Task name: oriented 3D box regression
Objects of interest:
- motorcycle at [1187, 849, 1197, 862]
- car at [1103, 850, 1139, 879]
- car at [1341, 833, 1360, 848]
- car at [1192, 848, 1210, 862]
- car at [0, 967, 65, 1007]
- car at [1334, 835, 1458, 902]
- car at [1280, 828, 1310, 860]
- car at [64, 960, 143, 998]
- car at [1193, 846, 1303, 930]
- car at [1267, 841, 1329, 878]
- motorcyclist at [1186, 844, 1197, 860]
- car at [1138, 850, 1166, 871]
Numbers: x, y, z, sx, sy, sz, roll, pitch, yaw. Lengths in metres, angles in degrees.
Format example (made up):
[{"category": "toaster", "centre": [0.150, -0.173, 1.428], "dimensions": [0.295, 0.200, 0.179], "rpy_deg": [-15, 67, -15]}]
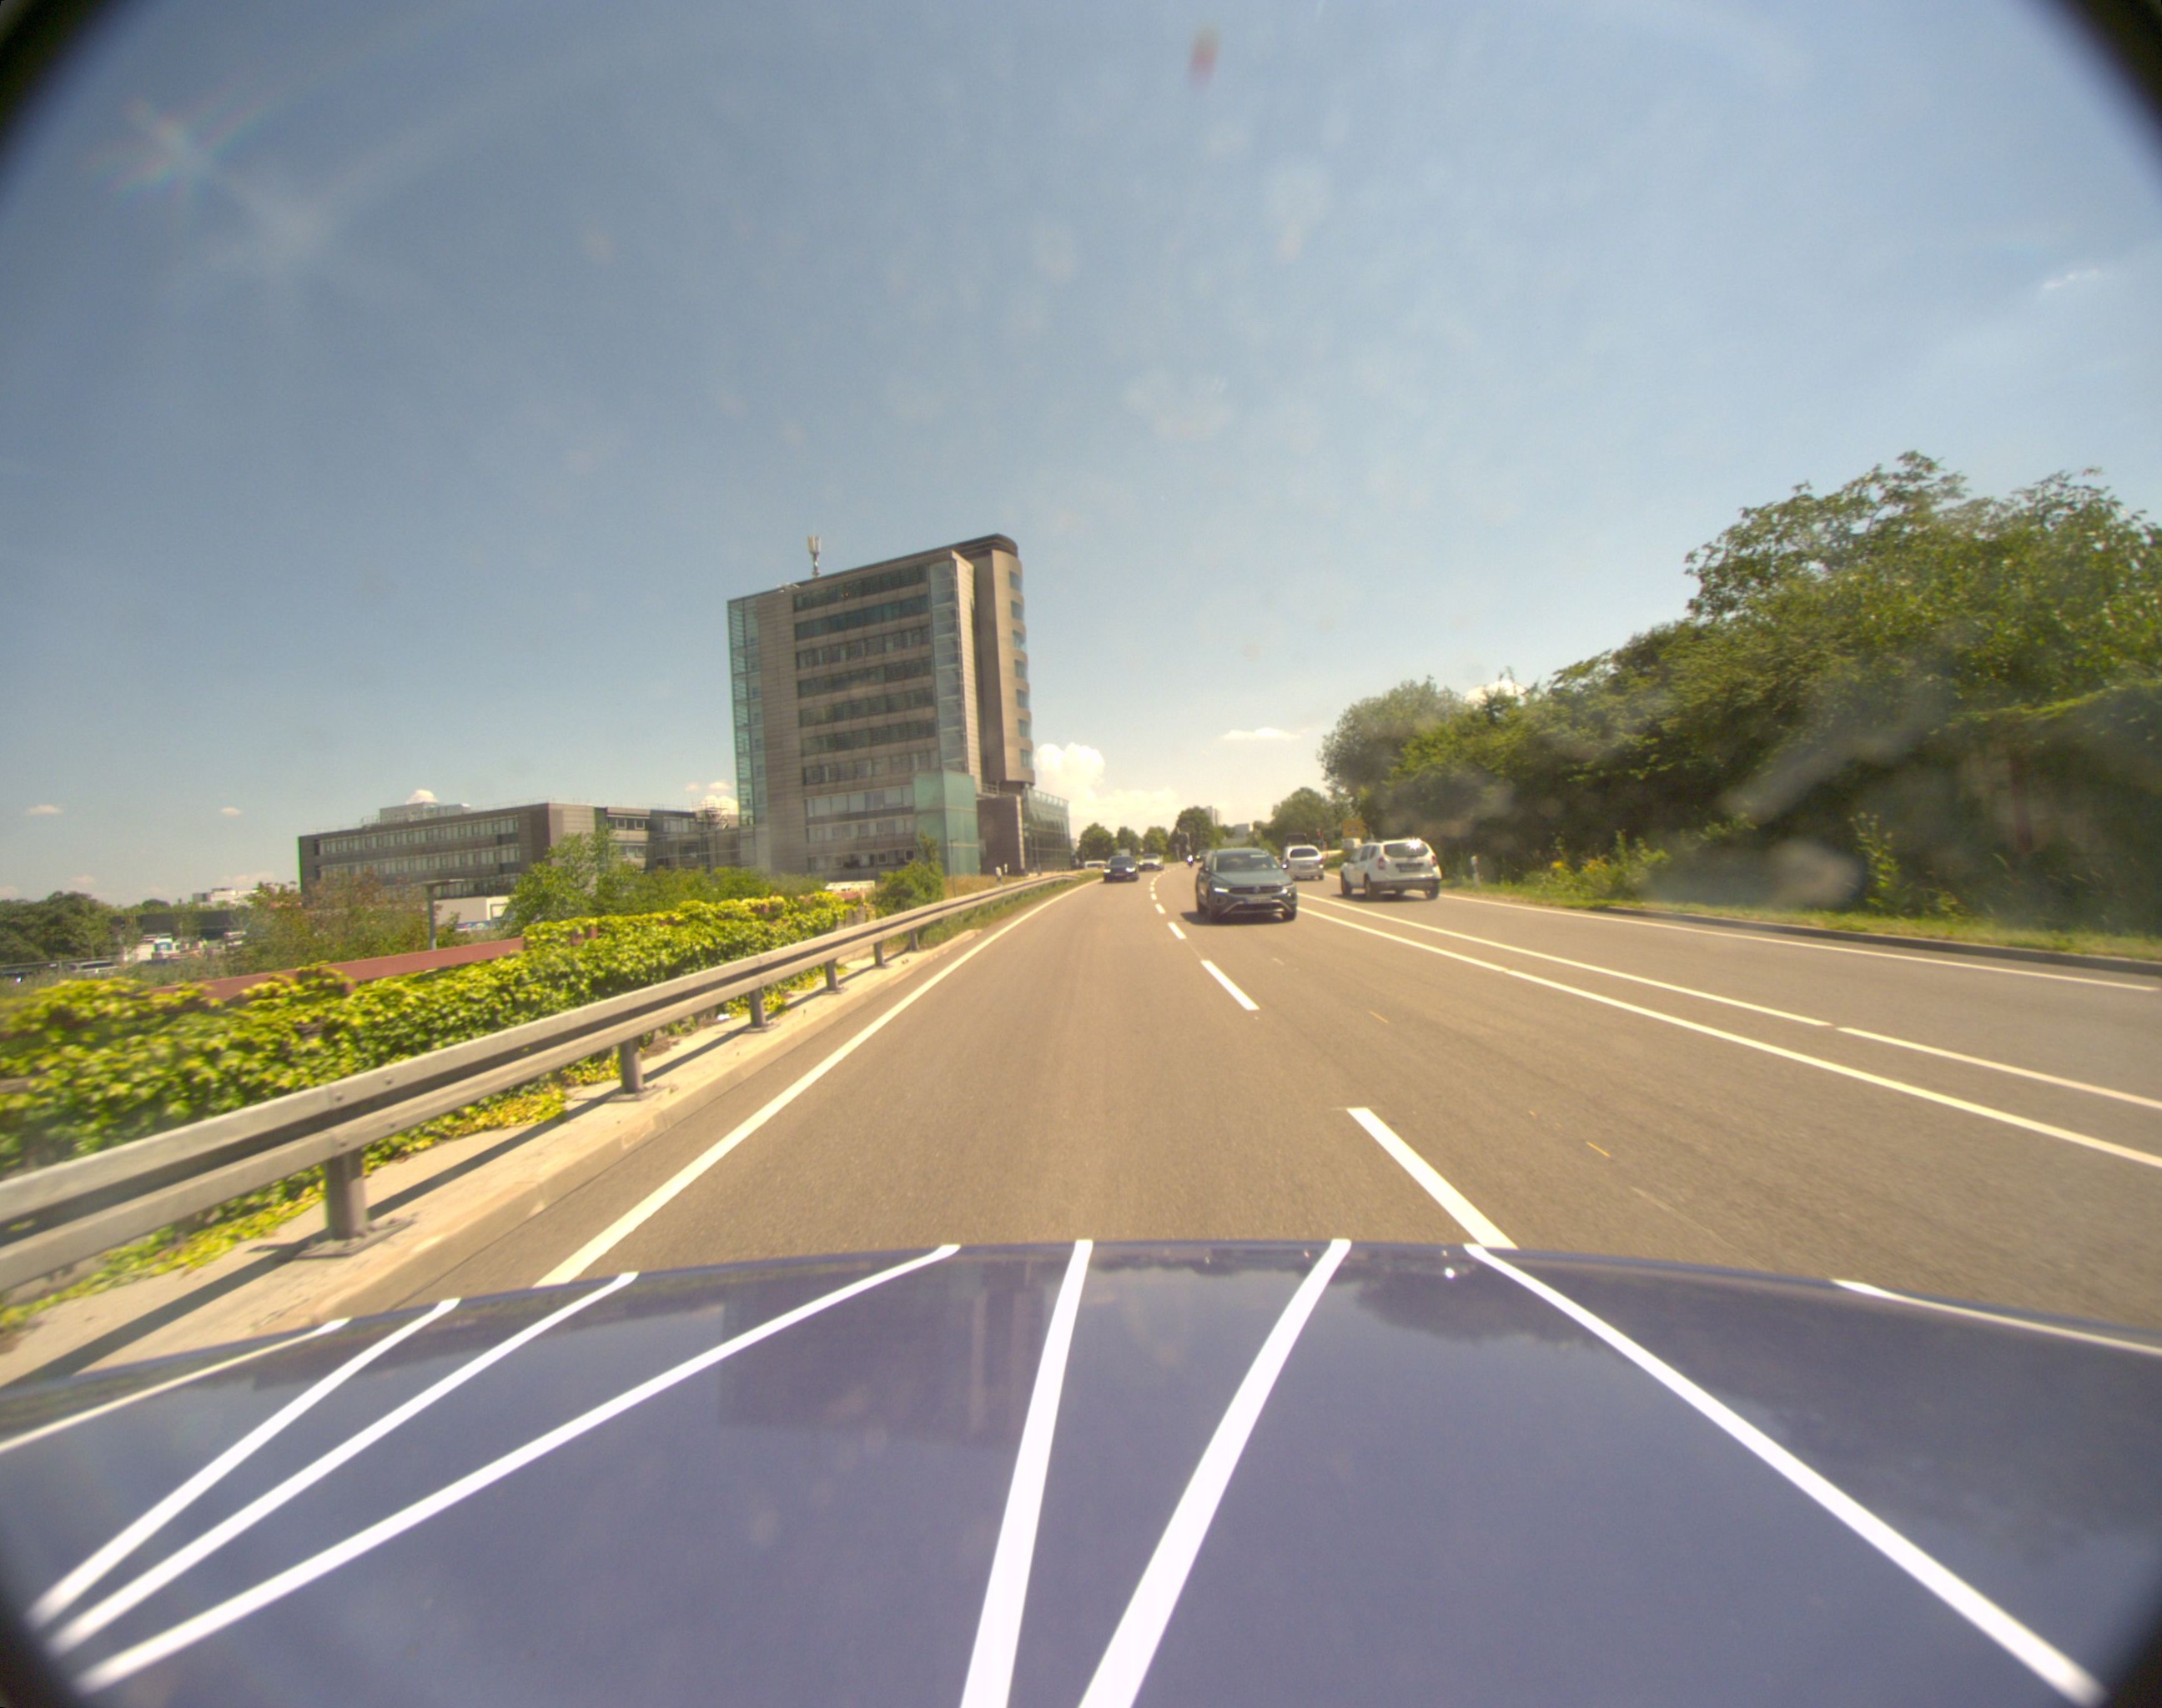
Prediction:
[{"category": "motorcycle", "centre": [10.072, 0.167, 69.002], "dimensions": [0.734, 1.131, 2.073], "rpy_deg": [-1, 0, 5]}, {"category": "car", "centre": [2.316, 0.549, 43.004], "dimensions": [1.779, 1.497, 4.563], "rpy_deg": [-2, 0, 5]}, {"category": "car", "centre": [39.961, -2.040, 112.620], "dimensions": [2.078, 2.002, 5.815], "rpy_deg": [-3, 0, 24]}, {"category": "car", "centre": [14.887, 0.082, 94.052], "dimensions": [2.116, 1.582, 4.453], "rpy_deg": [-3, 1, 10]}, {"category": "car", "centre": [-63.935, 8.045, 45.905], "dimensions": [3.992, 2.001, 2.003], "rpy_deg": [-5, -1, 22]}, {"category": "car", "centre": [8.685, 0.355, 21.379], "dimensions": [1.998, 1.619, 4.198], "rpy_deg": [-2, 0, 5]}, {"category": "car", "centre": [18.417, -0.888, 65.222], "dimensions": [2.191, 2.526, 6.043], "rpy_deg": [-3, 0, 17]}, {"category": "car", "centre": [-62.667, 8.018, 48.726], "dimensions": [3.992, 2.001, 2.003], "rpy_deg": [-5, -1, 22]}, {"category": "car", "centre": [3.616, 0.656, 17.213], "dimensions": [1.838, 1.577, 4.392], "rpy_deg": [-3, 0, 5]}, {"category": "car", "centre": [10.098, 0.225, 35.707], "dimensions": [1.841, 1.583, 4.818], "rpy_deg": [-2, 0, 4]}, {"category": "motorcyclist", "centre": [10.033, -0.191, 68.969], "dimensions": [0.860, 1.479, 1.162], "rpy_deg": [-2, 0, 5]}, {"category": "car", "centre": [6.036, 0.576, 64.320], "dimensions": [1.933, 1.576, 4.183], "rpy_deg": [-5, -2, 9]}]
